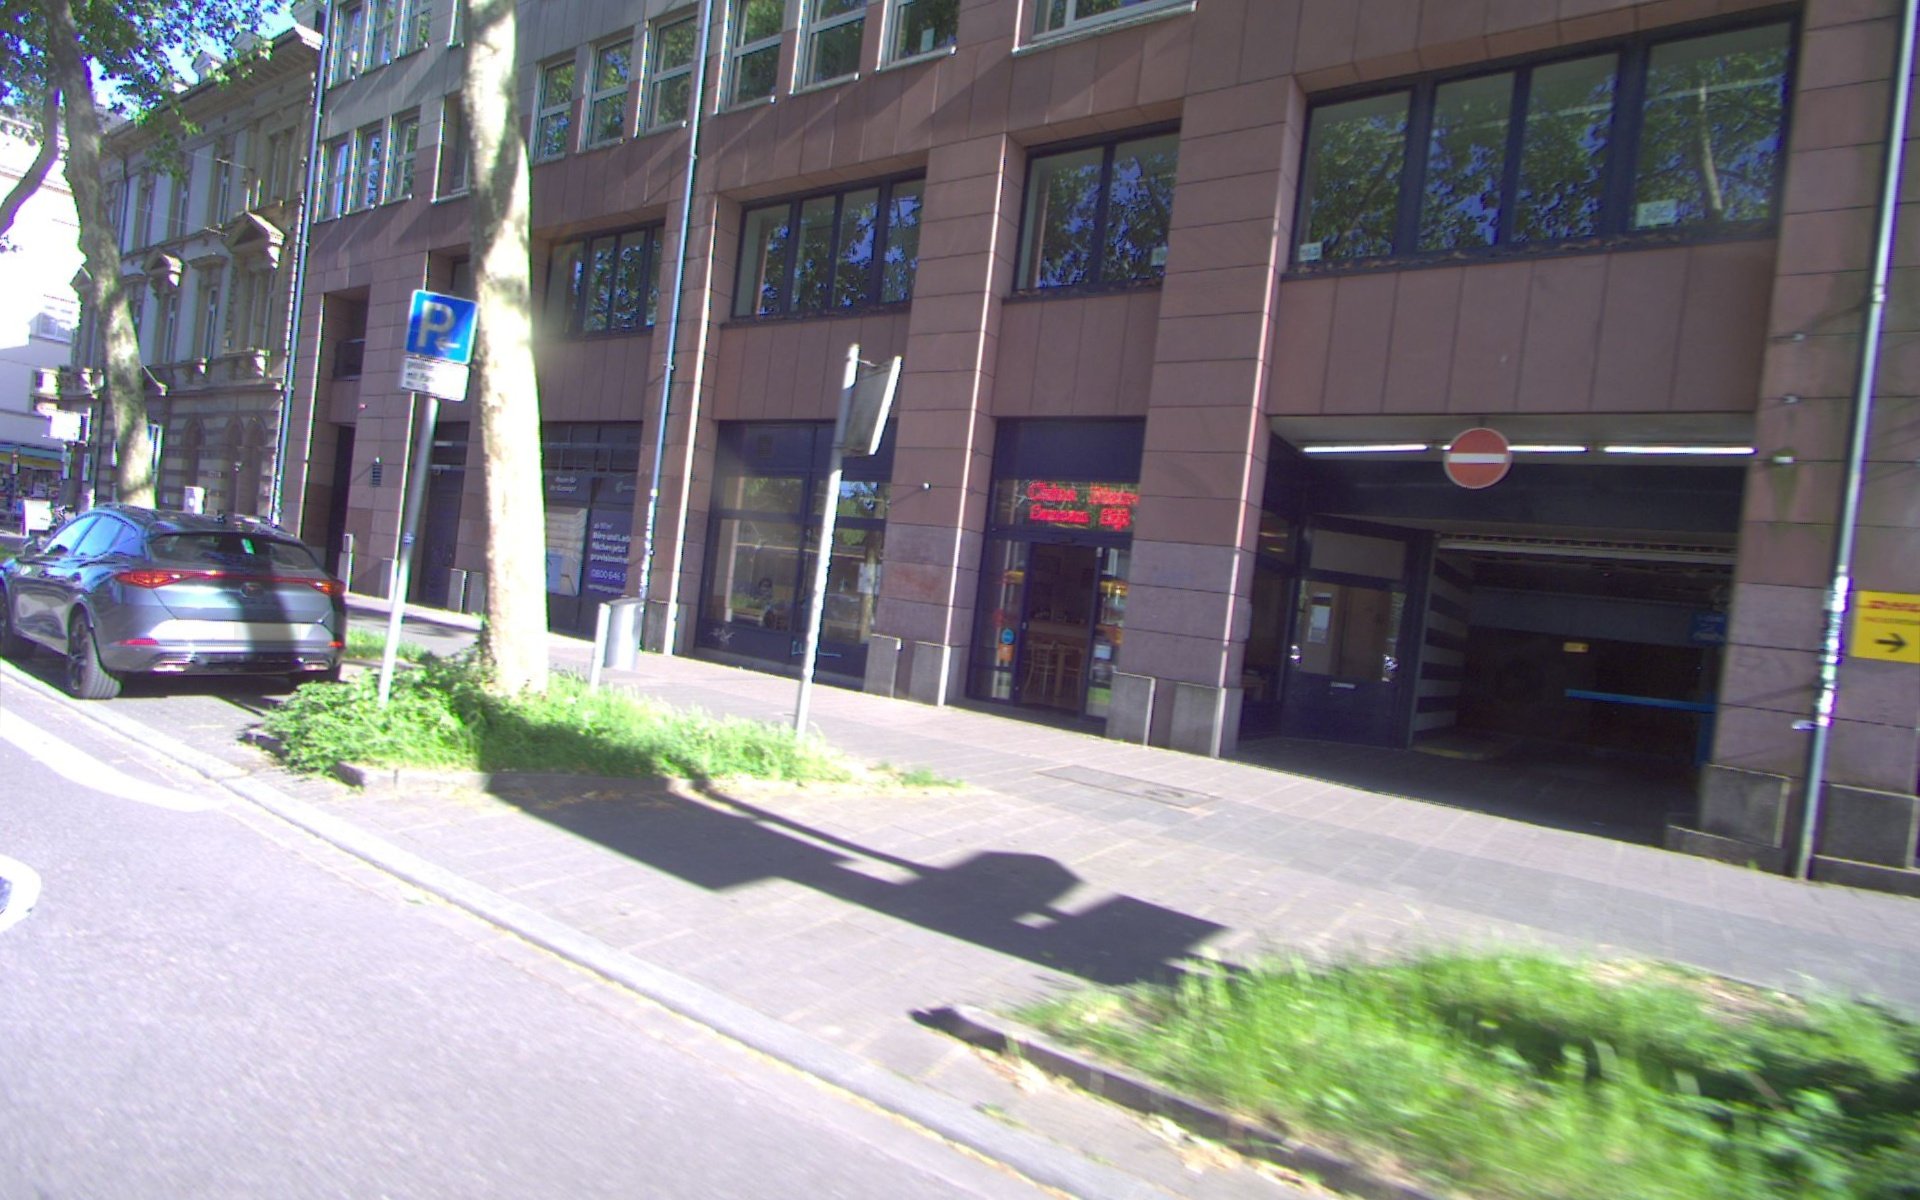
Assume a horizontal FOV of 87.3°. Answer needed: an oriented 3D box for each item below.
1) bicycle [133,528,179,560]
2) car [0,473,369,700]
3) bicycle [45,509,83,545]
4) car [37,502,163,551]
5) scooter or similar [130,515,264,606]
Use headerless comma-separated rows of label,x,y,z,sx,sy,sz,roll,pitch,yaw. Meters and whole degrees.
bicycle,-23.336,-1.622,29.176,1.636,0.783,0.548,6,2,34
car,-7.314,-0.196,9.178,4.213,1.590,1.668,6,0,36
bicycle,-29.472,-2.409,33.094,1.852,1.009,0.414,6,0,34
car,-38.349,-3.258,44.954,1.641,1.491,3.940,7,-1,38
scooter or similar,-11.999,-0.594,15.863,0.442,1.252,1.541,7,0,35
